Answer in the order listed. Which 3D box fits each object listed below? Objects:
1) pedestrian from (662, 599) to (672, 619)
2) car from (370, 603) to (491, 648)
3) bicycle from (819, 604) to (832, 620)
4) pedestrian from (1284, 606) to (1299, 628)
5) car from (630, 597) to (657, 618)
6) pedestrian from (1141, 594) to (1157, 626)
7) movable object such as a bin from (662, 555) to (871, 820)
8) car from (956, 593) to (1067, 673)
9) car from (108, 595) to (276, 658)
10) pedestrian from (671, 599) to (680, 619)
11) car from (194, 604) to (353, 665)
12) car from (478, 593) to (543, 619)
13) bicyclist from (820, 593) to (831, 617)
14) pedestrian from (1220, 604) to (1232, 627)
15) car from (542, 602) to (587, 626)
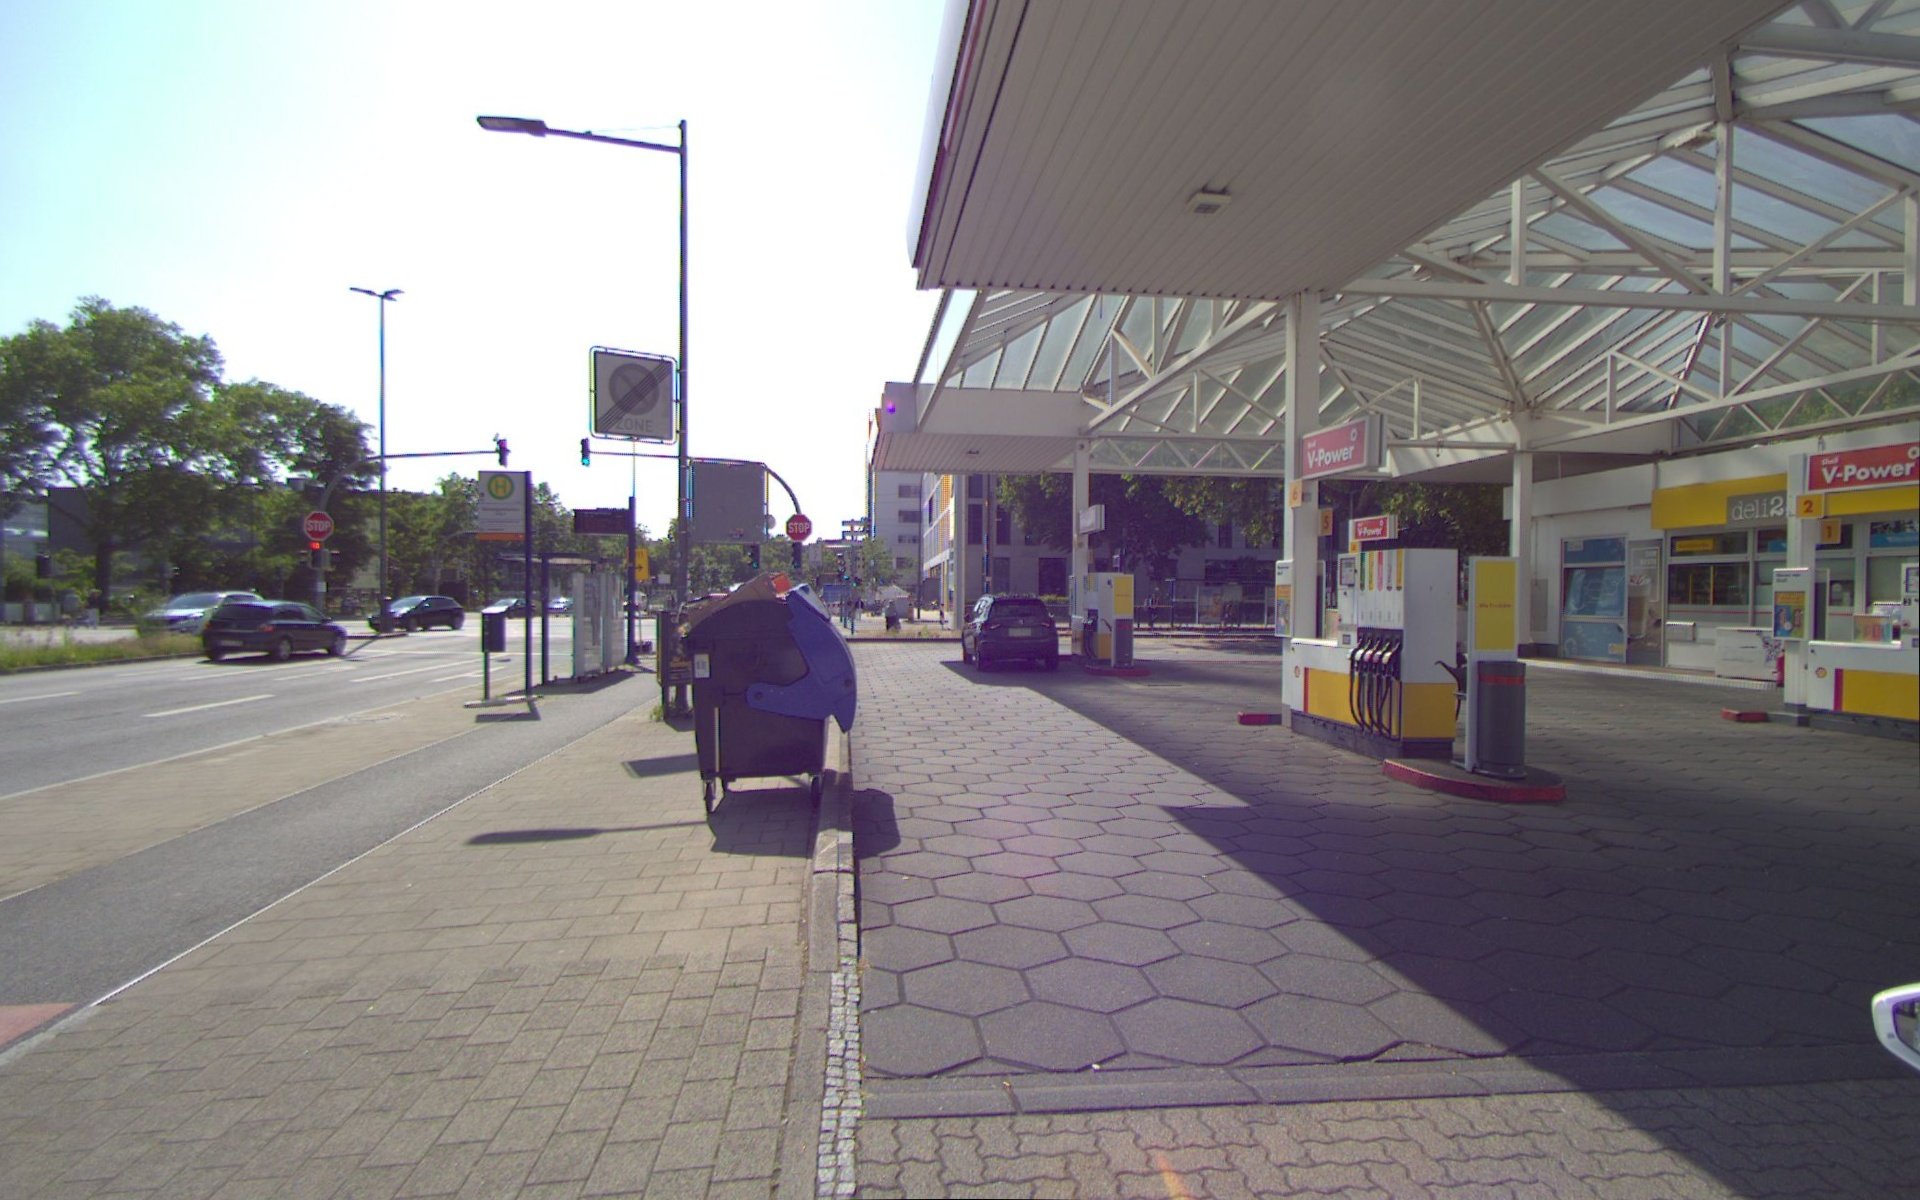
[{"bbox_3d":[-21.765,0.681,74.656,0.554,1.489,0.514,0,0,4],"label":"pedestrian"},{"bbox_3d":[-22.736,1.056,43.303,1.961,1.792,4.389,0,0,23],"label":"car"},{"bbox_3d":[-9.322,0.812,69.536,0.629,1.096,2.019,0,0,-16],"label":"bicycle"},{"bbox_3d":[17.153,0.868,51.949,0.618,1.153,0.524,0,1,-1],"label":"pedestrian"},{"bbox_3d":[-32.938,0.782,104.536,1.964,2.040,4.440,-2,0,-9],"label":"car"},{"bbox_3d":[9.551,0.502,50.694,0.575,1.613,0.669,0,2,-7],"label":"pedestrian"},{"bbox_3d":[-1.346,0.579,7.380,1.317,1.710,1.336,-2,0,-6],"label":"movable object such as a bin"},{"bbox_3d":[1.014,0.665,21.820,1.717,1.552,3.995,-1,0,-7],"label":"car"},{"bbox_3d":[-23.340,0.755,30.765,1.962,1.792,4.388,1,0,-4],"label":"car"},{"bbox_3d":[-21.397,0.647,75.566,0.554,1.489,0.513,0,0,1],"label":"pedestrian"},{"bbox_3d":[-17.334,0.819,25.599,1.654,1.385,3.997,2,0,-7],"label":"car"},{"bbox_3d":[-31.331,0.419,70.118,1.961,1.727,4.000,0,0,20],"label":"car"},{"bbox_3d":[-9.317,0.335,69.523,0.629,1.601,1.169,0,0,-16],"label":"bicyclist"},{"bbox_3d":[13.622,0.782,51.432,0.491,1.153,0.524,0,0,-1],"label":"pedestrian"},{"bbox_3d":[-31.336,1.090,79.632,1.961,1.829,4.210,-2,0,-2],"label":"car"}]
